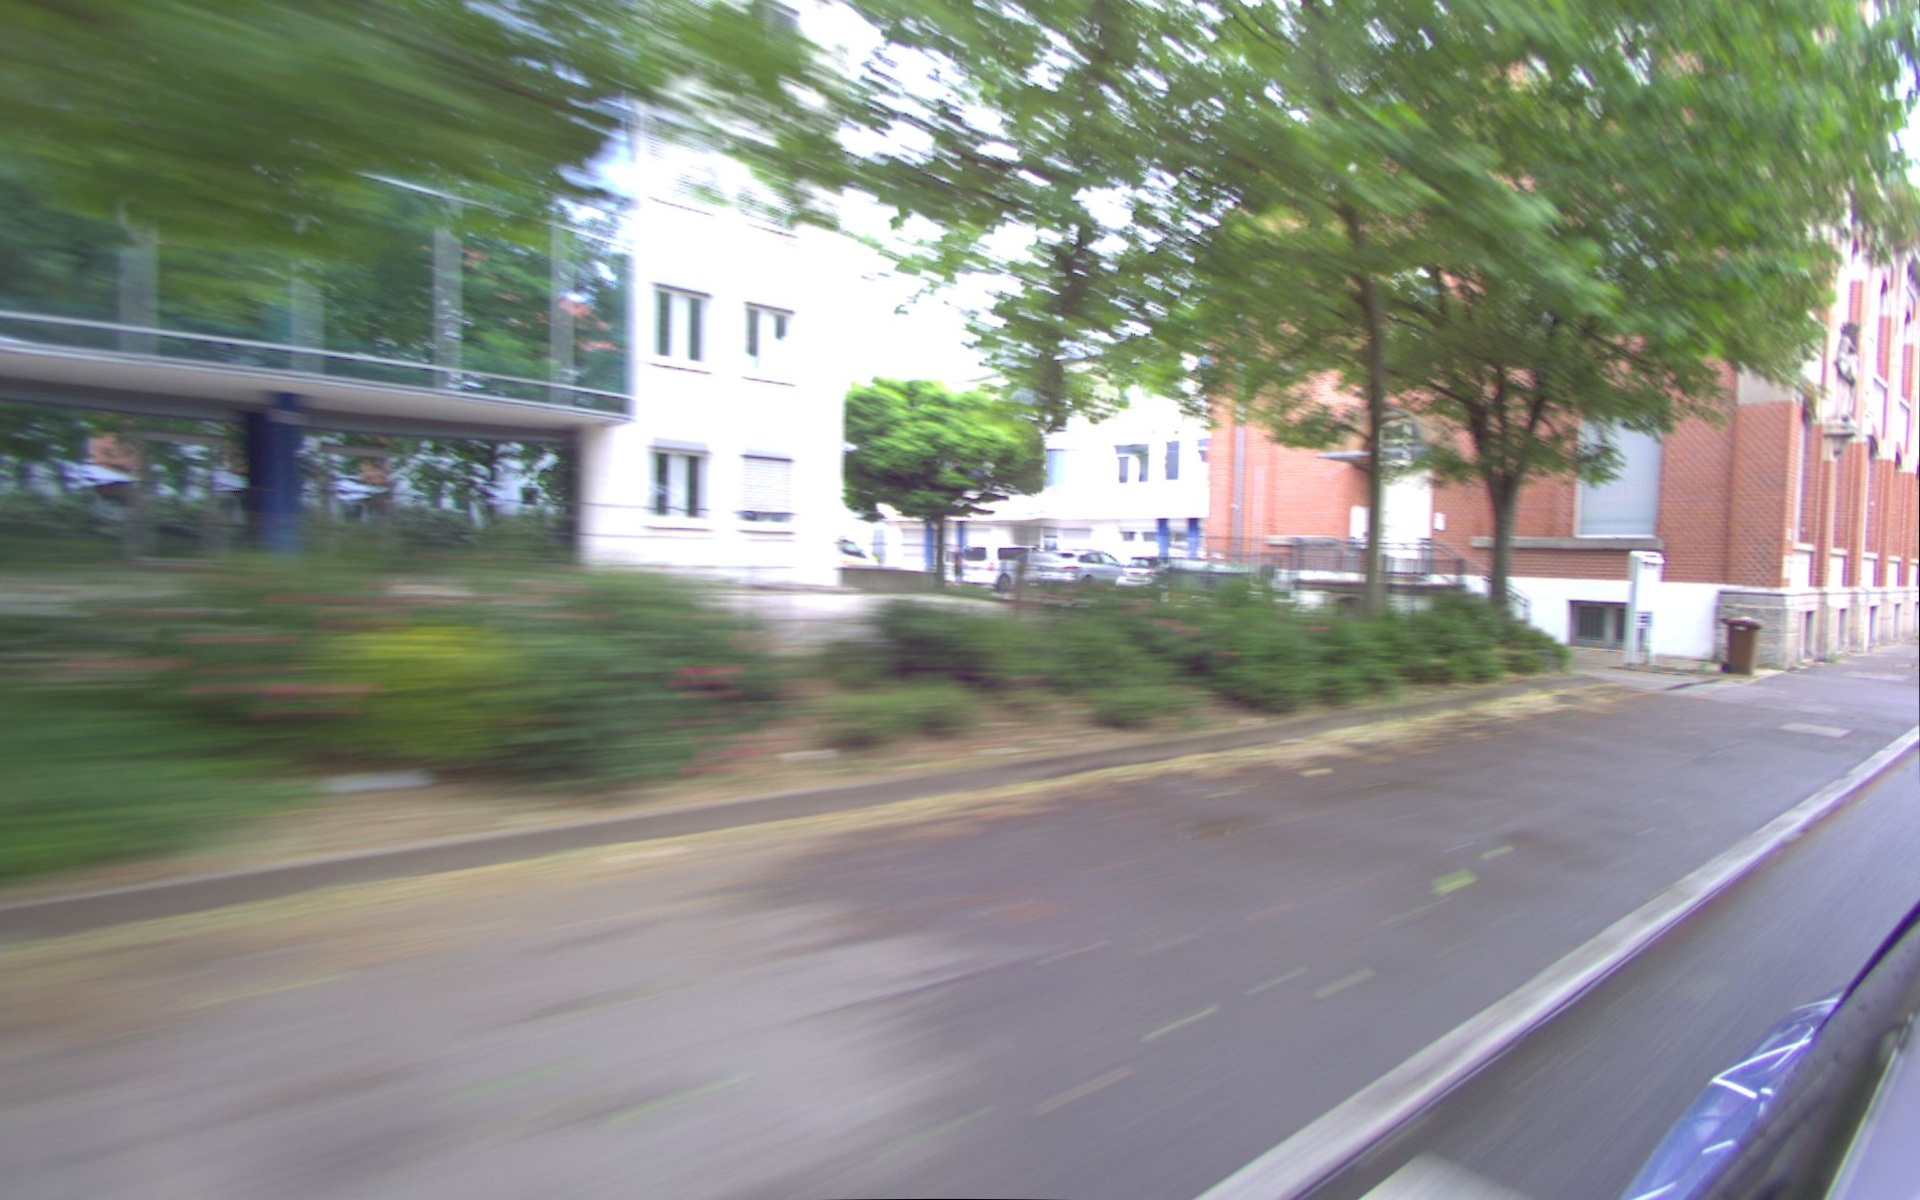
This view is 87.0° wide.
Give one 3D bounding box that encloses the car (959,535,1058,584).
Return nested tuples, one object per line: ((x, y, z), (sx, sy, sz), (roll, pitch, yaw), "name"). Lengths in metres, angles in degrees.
((2.060, -1.672, 42.730), (3.927, 1.973, 1.912), (-2, 1, -40), "car")

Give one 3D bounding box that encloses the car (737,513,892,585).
((-5.116, -1.771, 36.092), (5.204, 2.358, 2.035), (-2, 1, -40), "car")

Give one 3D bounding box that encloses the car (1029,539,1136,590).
((4.748, -1.344, 38.906), (3.927, 1.840, 1.912), (-2, 1, -40), "car")

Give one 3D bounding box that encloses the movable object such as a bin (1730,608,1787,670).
((13.019, 0.619, 16.501), (0.562, 0.944, 0.592), (0, 4, -41), "movable object such as a bin")

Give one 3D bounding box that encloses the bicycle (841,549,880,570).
((-5.379, -2.177, 54.758), (2.083, 1.124, 0.559), (-2, 1, -38), "bicycle")

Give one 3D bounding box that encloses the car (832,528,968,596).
((-1.840, -1.166, 31.595), (3.927, 1.973, 1.819), (-2, 1, -40), "car")

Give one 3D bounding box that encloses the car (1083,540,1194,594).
((6.507, -1.188, 36.772), (3.927, 1.840, 1.912), (-2, 1, -40), "car")
